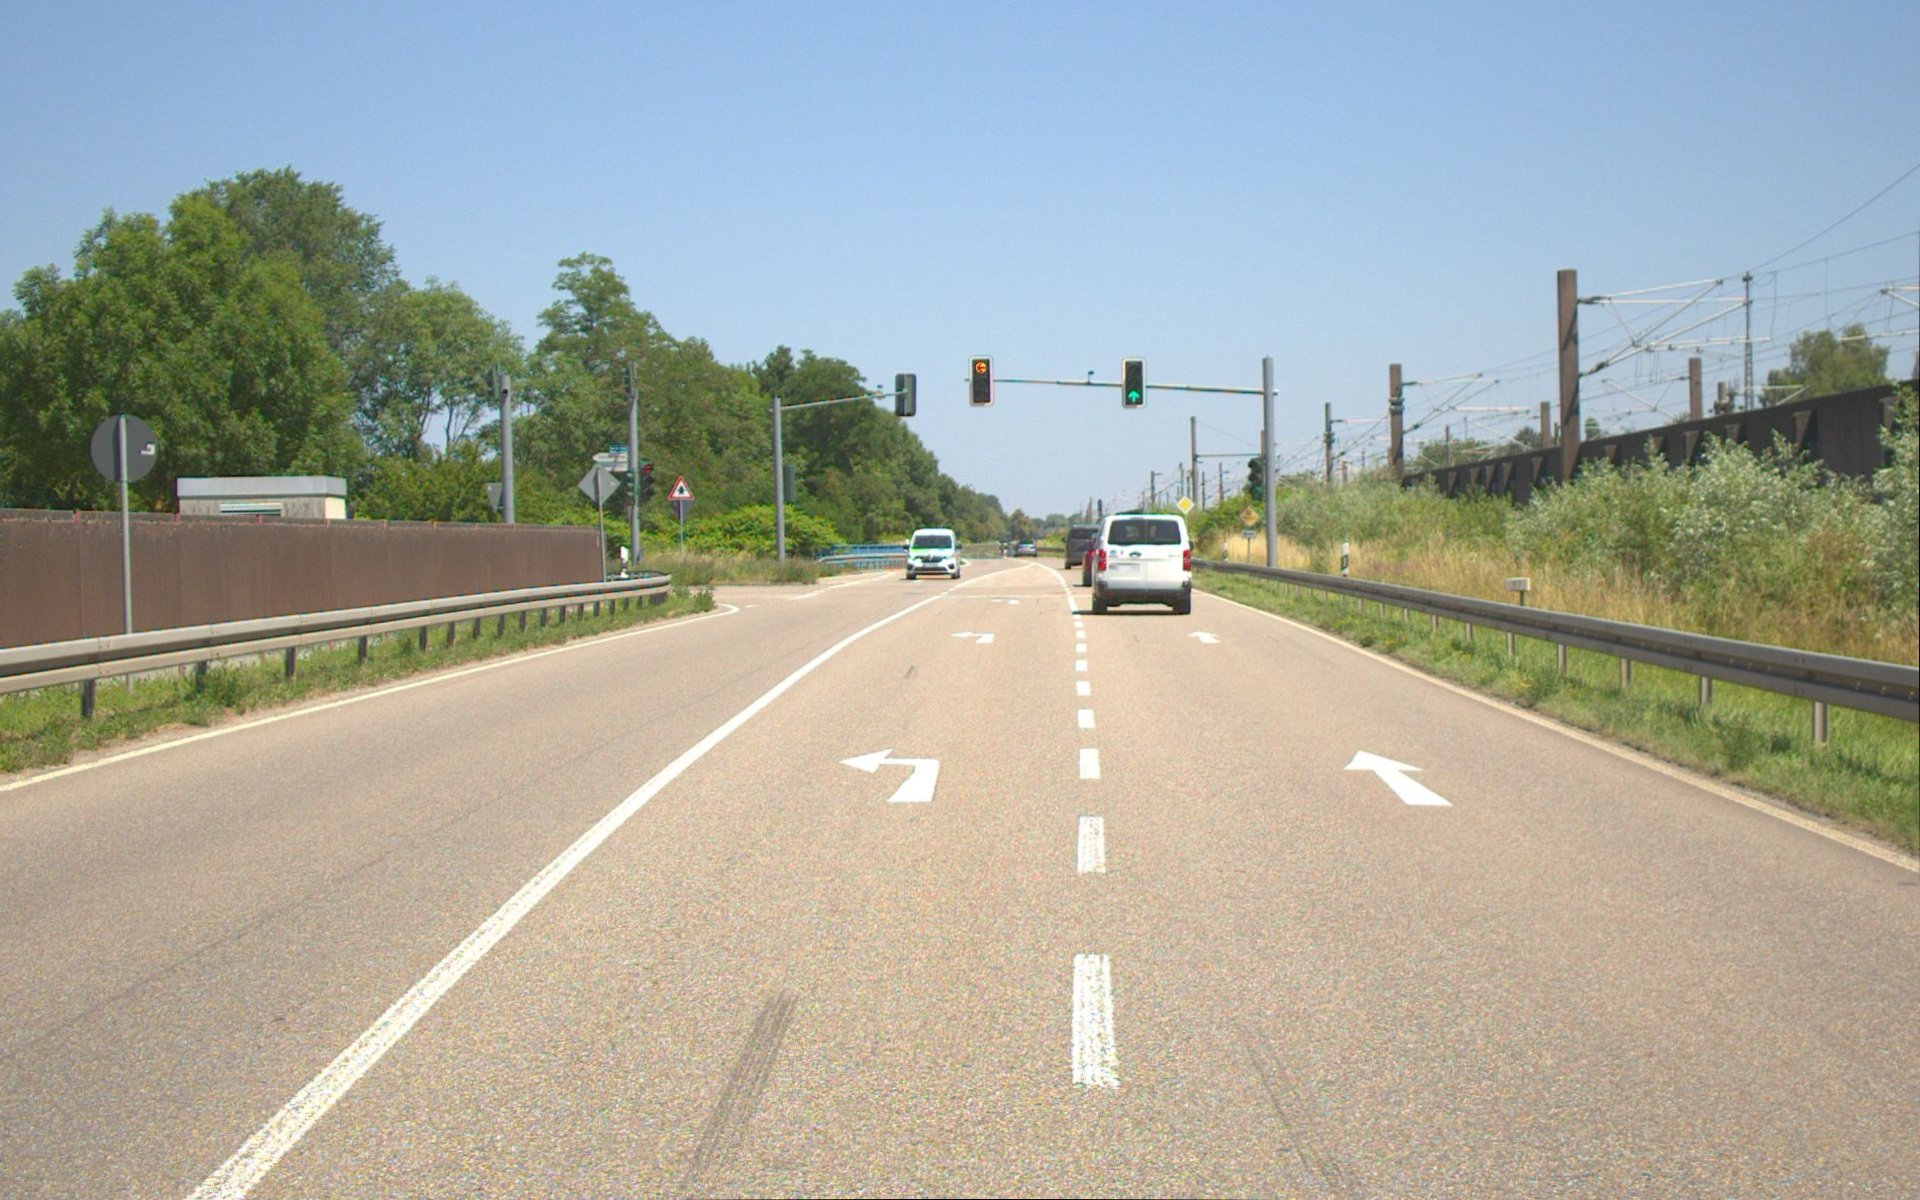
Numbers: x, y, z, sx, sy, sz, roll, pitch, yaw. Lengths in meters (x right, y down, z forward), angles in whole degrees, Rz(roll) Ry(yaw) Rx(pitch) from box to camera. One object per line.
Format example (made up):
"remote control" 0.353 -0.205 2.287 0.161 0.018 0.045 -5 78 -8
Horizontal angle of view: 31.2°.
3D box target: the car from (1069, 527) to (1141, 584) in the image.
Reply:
"car" 4.447 -1.396 106.144 2.019 1.720 4.543 0 1 0

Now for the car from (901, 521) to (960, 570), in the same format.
"car" -1.086 -1.955 123.712 1.887 1.734 4.777 0 1 -3

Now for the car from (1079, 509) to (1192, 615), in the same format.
"car" 3.390 -0.767 67.045 1.993 1.977 4.060 1 1 0

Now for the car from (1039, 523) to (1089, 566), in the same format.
"car" 4.804 -2.591 158.876 2.155 1.961 4.543 0 1 0
